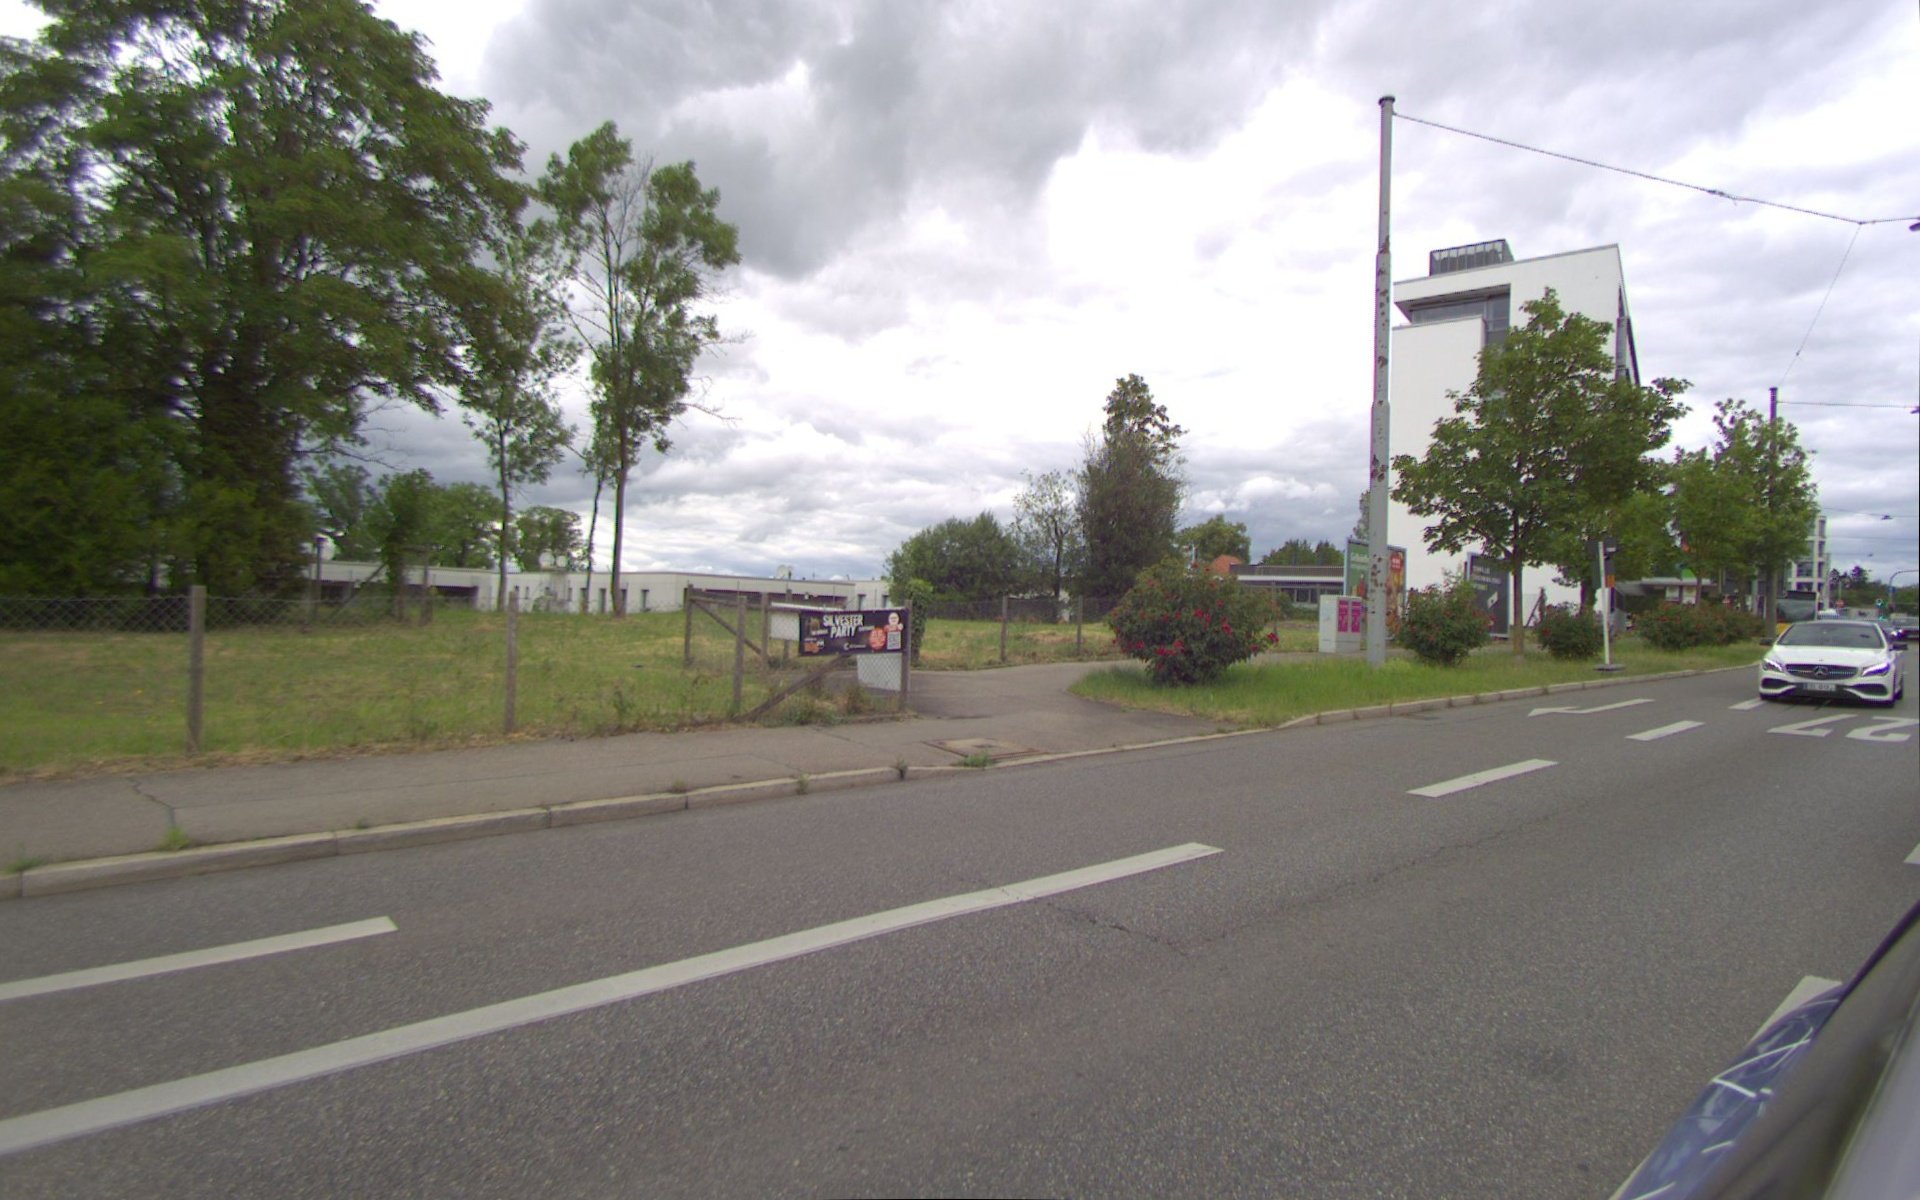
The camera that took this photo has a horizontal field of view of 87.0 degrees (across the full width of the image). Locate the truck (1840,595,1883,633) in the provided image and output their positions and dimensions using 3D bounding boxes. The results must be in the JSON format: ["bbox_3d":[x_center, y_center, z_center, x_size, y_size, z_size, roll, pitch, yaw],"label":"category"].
[{"bbox_3d":[102.870,1.675,115.593,2.934,4.007,9.034,4,1,39],"label":"truck"}]

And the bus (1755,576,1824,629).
[{"bbox_3d":[55.293,0.197,67.615,3.028,3.276,9.213,2,0,37],"label":"bus"}]

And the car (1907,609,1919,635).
[{"bbox_3d":[61.057,1.391,63.650,4.292,1.573,1.733,1,-1,-41],"label":"car"}]

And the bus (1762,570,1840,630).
[{"bbox_3d":[49.726,0.043,60.039,2.975,3.282,9.733,1,0,37],"label":"bus"}]

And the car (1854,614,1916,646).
[{"bbox_3d":[46.526,1.484,50.874,4.291,1.501,1.734,1,-1,-40],"label":"car"}]

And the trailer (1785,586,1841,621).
[{"bbox_3d":[115.168,0.575,136.878,3.086,4.324,14.686,1,-1,30],"label":"trailer"}]

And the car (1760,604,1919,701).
[{"bbox_3d":[16.055,0.845,18.155,4.690,1.524,1.870,0,-1,-42],"label":"car"}]
